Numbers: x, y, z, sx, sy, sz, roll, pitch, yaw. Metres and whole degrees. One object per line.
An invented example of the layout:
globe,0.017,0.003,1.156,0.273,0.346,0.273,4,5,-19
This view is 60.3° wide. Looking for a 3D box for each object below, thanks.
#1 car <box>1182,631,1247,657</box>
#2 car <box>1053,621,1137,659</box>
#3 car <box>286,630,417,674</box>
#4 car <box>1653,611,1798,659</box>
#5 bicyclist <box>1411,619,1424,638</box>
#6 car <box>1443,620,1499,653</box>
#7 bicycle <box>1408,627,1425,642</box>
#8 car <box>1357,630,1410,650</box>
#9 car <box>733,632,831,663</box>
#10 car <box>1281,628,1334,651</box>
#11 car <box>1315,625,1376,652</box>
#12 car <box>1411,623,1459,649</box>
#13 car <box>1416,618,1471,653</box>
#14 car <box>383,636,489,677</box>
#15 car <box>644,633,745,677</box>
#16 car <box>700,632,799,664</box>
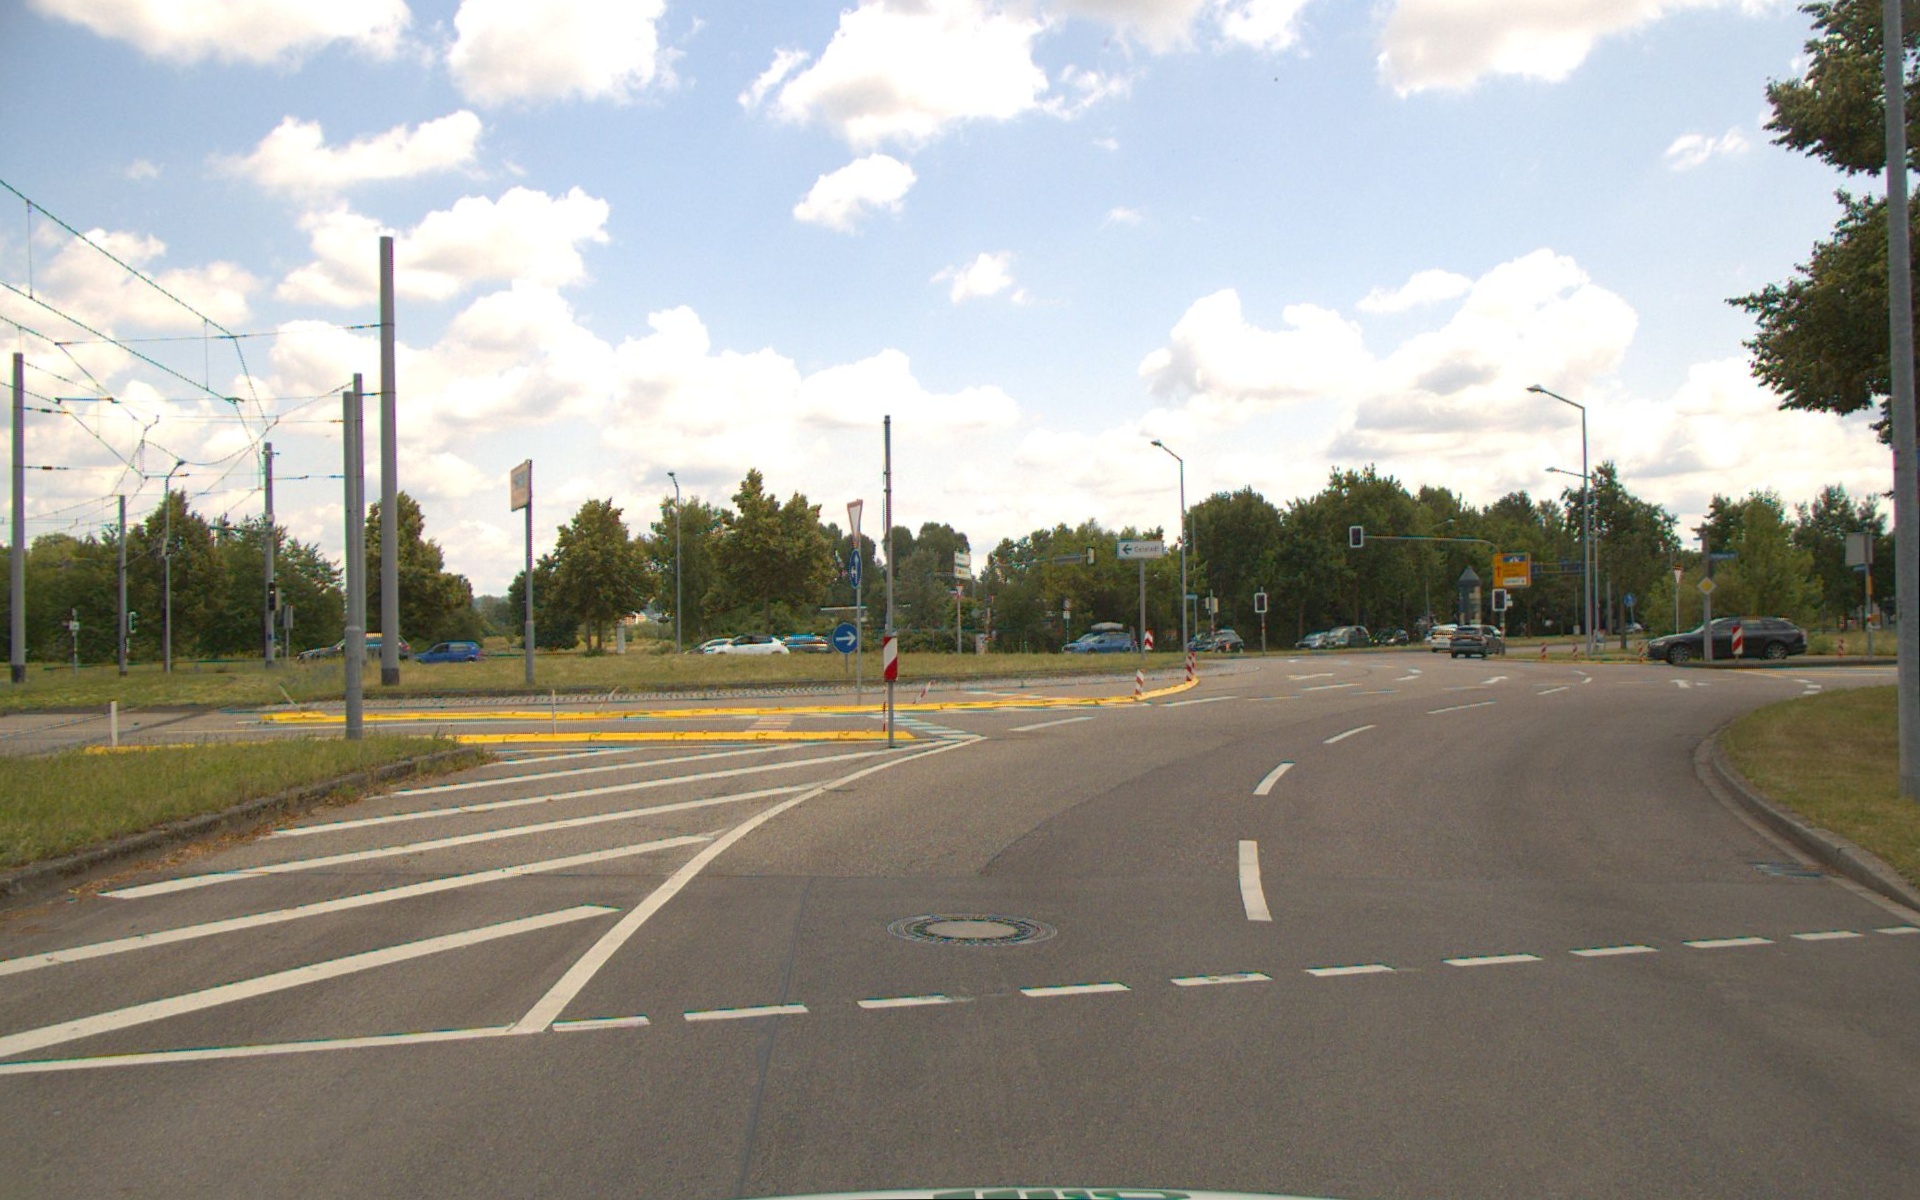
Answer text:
car,15.178,2.628,98.587,3.949,1.364,1.774,-1,-3,-44
car,6.865,2.009,83.983,4.370,1.830,1.729,0,-1,-42
car,-25.659,2.153,69.767,4.993,1.704,1.983,-1,-1,-27
car,24.105,1.086,52.208,3.902,1.489,1.690,0,-1,14
bicyclist,40.814,2.541,147.626,0.816,1.592,0.880,0,-1,38
car,26.316,1.885,85.079,1.956,1.654,4.302,-1,-1,29
bicycle,40.760,3.069,147.562,0.748,1.240,2.008,0,0,37
car,30.683,2.899,119.744,1.809,1.333,4.764,-5,-3,39
car,-8.703,2.301,80.662,4.413,1.346,1.941,-1,-1,-22
car,22.929,2.611,109.100,1.874,1.448,4.174,-2,-2,36
car,24.444,2.418,104.805,1.878,1.620,4.568,-2,-2,40
car,36.164,2.717,125.893,1.808,1.831,4.765,-4,-3,38
car,28.874,2.127,98.701,1.959,2.049,3.986,-1,-1,35
car,-25.362,2.721,80.073,4.653,1.822,1.833,2,1,-27
car,-13.205,2.701,82.331,4.646,2.049,1.986,-1,-1,-23
car,-9.617,2.197,75.619,4.229,1.353,1.990,-1,-1,-17
